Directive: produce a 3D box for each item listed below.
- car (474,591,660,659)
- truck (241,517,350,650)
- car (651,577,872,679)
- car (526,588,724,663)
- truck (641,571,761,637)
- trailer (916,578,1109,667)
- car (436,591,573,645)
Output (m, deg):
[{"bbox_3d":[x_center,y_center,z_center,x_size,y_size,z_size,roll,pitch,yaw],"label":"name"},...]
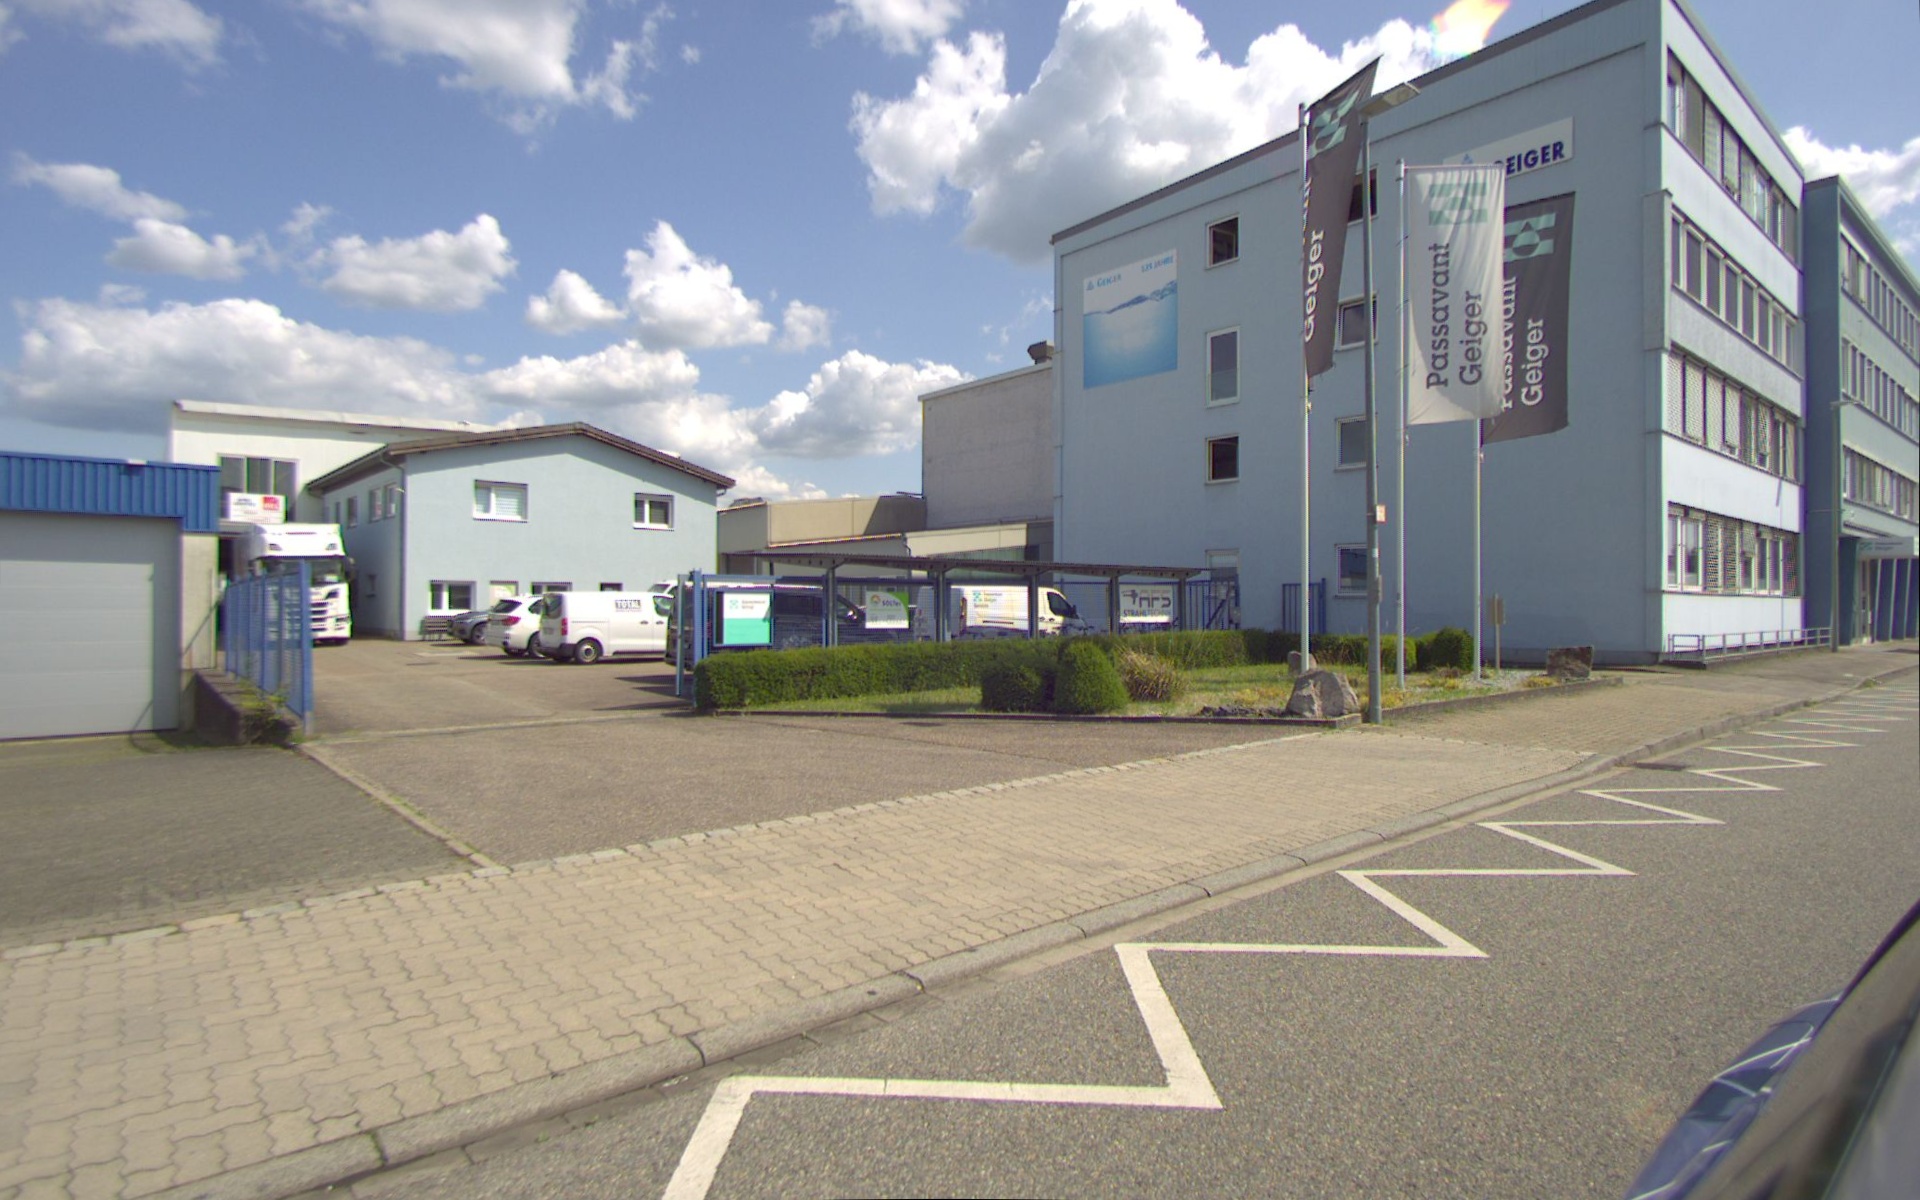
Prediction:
[{"bbox_3d":[-11.102,0.661,28.790,4.554,1.760,1.996,0,-1,-43],"label":"car"},{"bbox_3d":[-23.492,-0.611,35.522,2.580,4.048,9.661,0,1,-37],"label":"truck"},{"bbox_3d":[-4.044,0.524,20.967,4.071,1.894,1.996,0,-1,-42],"label":"car"},{"bbox_3d":[-8.858,0.616,26.993,4.630,1.827,1.996,0,-1,-43],"label":"car"},{"bbox_3d":[-9.813,0.152,38.389,3.929,2.394,1.997,0,-1,-40],"label":"truck"},{"bbox_3d":[1.408,0.500,25.133,5.190,2.010,1.687,0,-1,-43],"label":"trailer"},{"bbox_3d":[-15.493,0.592,34.502,3.929,1.723,1.858,0,-1,-40],"label":"car"}]
